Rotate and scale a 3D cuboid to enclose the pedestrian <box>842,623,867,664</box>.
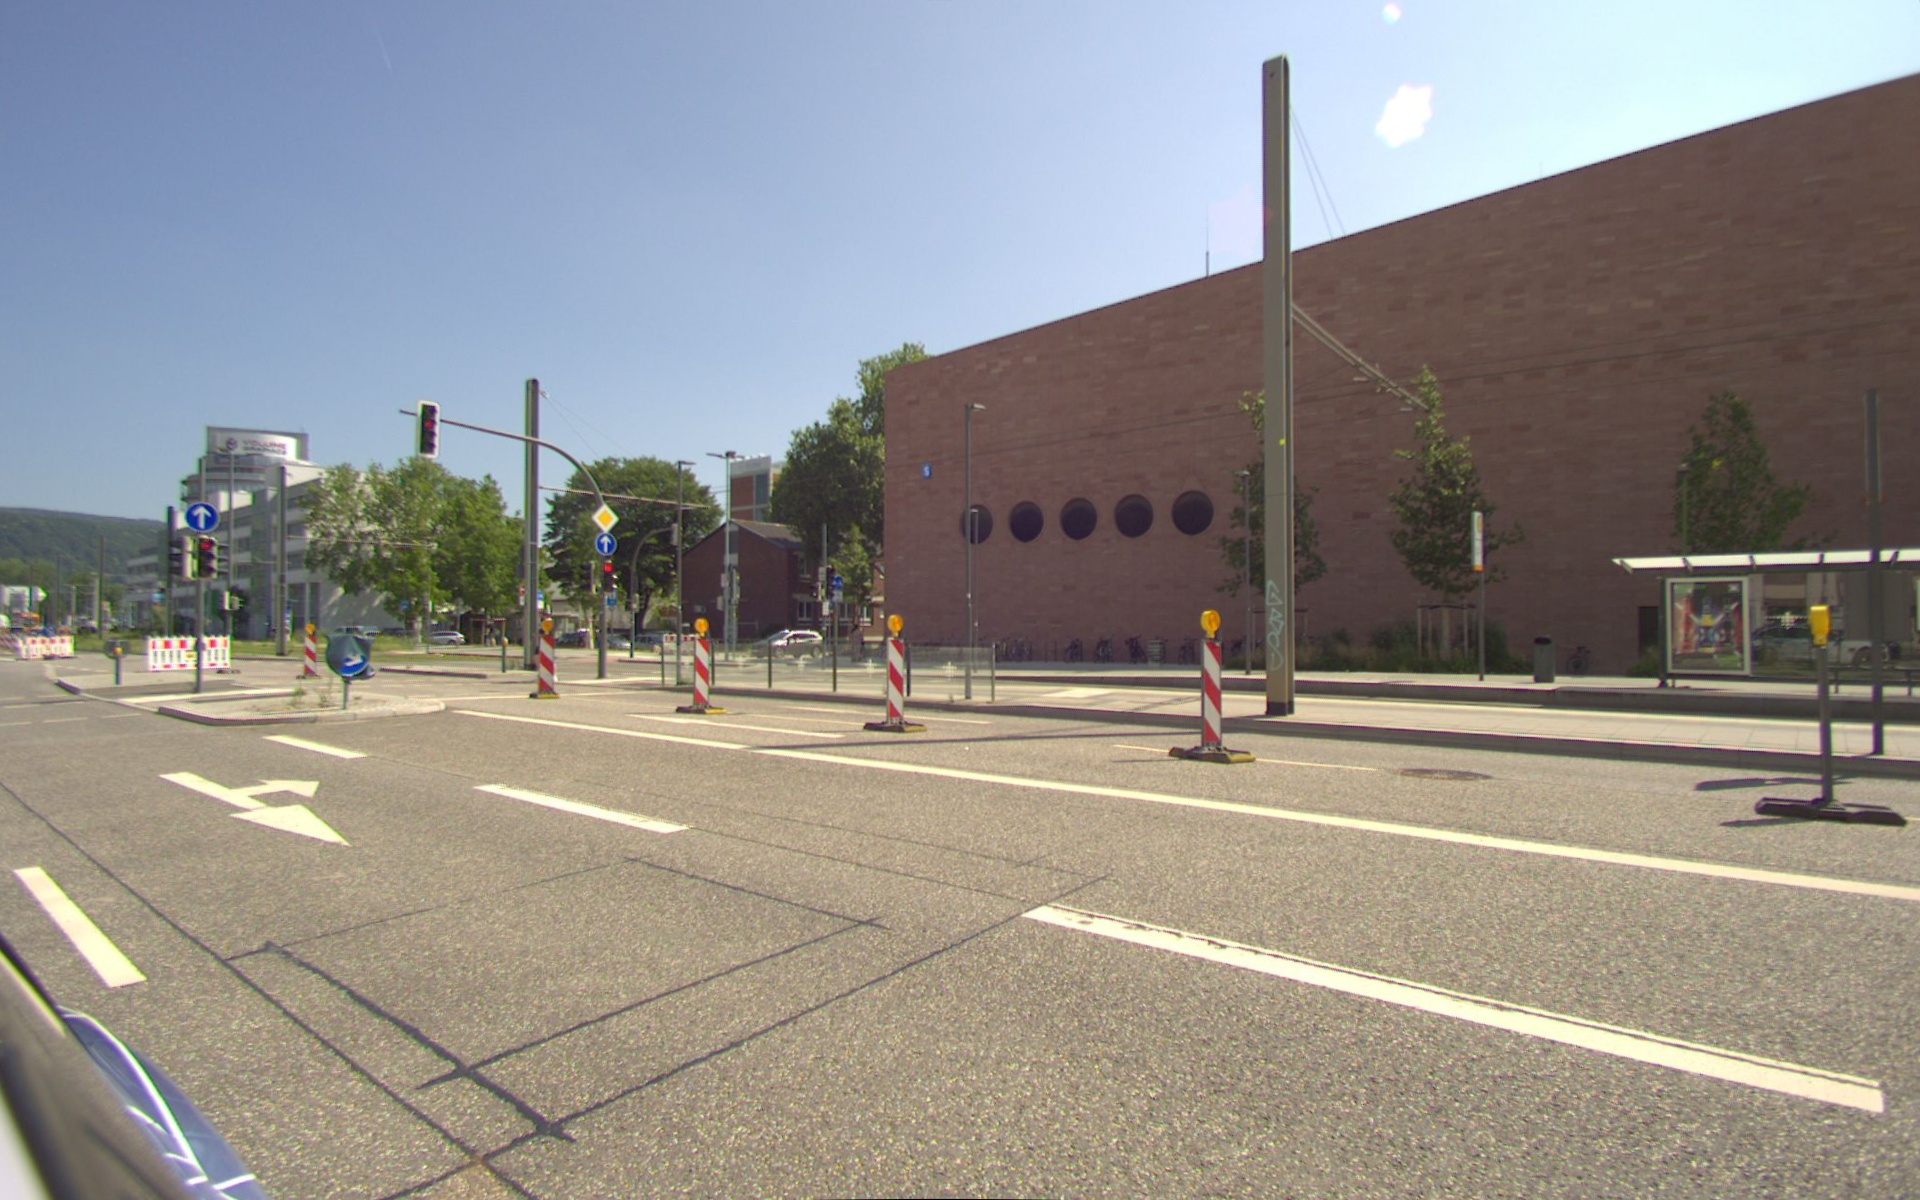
[{"bbox_3d":[-4.161,1.707,39.951,0.784,1.574,0.931,-1,-1,6],"label":"pedestrian"}]

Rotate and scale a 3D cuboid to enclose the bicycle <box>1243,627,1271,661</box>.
[{"bbox_3d":[11.073,1.625,37.675,0.537,1.221,2.036,-2,-1,30],"label":"bicycle"}]

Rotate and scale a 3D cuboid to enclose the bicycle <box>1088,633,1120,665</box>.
[{"bbox_3d":[5.831,1.953,40.936,0.537,1.221,2.036,-2,-1,30],"label":"bicycle"}]

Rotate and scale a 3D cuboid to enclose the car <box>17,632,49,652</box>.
[{"bbox_3d":[-70.406,3.201,76.866,1.609,1.438,4.292,1,-2,-45],"label":"car"}]

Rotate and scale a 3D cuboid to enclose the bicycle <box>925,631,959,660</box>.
[{"bbox_3d":[-0.773,2.002,44.706,0.537,1.221,2.037,-2,-1,30],"label":"bicycle"}]

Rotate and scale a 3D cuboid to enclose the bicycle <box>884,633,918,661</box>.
[{"bbox_3d":[-2.672,2.124,46.039,0.537,1.221,2.036,-1,-2,30],"label":"bicycle"}]

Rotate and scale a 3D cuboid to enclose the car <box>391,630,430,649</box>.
[{"bbox_3d":[-50.300,3.595,92.697,3.630,1.603,1.752,-2,0,36],"label":"car"}]

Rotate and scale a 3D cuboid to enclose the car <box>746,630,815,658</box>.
[{"bbox_3d":[-9.693,2.343,54.817,1.572,1.380,3.443,-2,-1,40],"label":"car"}]

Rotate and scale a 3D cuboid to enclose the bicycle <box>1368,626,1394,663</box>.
[{"bbox_3d":[14.417,1.502,34.601,0.537,1.221,2.036,-2,-1,30],"label":"bicycle"}]

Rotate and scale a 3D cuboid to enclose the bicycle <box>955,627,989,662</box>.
[{"bbox_3d":[0.519,1.923,43.942,0.537,1.464,2.036,-2,-1,30],"label":"bicycle"}]

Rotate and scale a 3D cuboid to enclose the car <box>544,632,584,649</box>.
[{"bbox_3d":[-34.304,3.478,87.616,4.265,1.468,1.522,-2,-2,41],"label":"car"}]

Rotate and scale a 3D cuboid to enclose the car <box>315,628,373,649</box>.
[{"bbox_3d":[-65.998,4.095,108.496,4.988,2.196,2.121,0,-1,-22],"label":"car"}]

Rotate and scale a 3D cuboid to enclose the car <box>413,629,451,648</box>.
[{"bbox_3d":[-49.699,3.609,95.245,3.630,1.603,1.752,-2,0,36],"label":"car"}]

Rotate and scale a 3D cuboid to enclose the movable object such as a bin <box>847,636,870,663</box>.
[{"bbox_3d":[-4.082,1.980,40.773,0.784,1.039,0.714,-1,-1,6],"label":"movable object such as a bin"}]

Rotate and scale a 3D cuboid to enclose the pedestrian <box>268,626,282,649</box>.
[{"bbox_3d":[-63.518,3.466,93.837,0.984,2.029,0.830,-2,-1,44],"label":"pedestrian"}]

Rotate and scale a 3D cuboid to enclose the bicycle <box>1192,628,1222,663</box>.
[{"bbox_3d":[9.260,1.690,37.912,0.537,1.221,2.036,-2,-1,30],"label":"bicycle"}]

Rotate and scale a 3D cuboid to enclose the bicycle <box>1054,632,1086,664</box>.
[{"bbox_3d":[4.537,1.968,41.714,0.537,1.221,2.036,-1,-1,30],"label":"bicycle"}]

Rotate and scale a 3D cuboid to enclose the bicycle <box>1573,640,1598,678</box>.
[{"bbox_3d":[20.149,1.884,32.582,0.594,1.161,2.223,-2,-2,33],"label":"bicycle"}]

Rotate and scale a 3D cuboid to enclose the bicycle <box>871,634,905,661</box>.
[{"bbox_3d":[-3.295,2.171,46.451,0.537,1.221,2.036,-1,-2,30],"label":"bicycle"}]

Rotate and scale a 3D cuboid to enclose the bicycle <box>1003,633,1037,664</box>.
[{"bbox_3d":[2.563,2.048,43.057,0.537,1.221,2.036,-2,-1,30],"label":"bicycle"}]

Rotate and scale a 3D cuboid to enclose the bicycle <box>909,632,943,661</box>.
[{"bbox_3d":[-1.509,2.047,45.128,0.537,1.221,2.036,-2,-1,30],"label":"bicycle"}]

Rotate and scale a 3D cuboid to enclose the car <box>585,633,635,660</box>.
[{"bbox_3d":[-24.922,3.271,71.976,3.938,1.774,1.680,0,0,42],"label":"car"}]

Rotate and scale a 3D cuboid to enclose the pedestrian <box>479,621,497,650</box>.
[{"bbox_3d":[-31.122,2.335,66.716,0.802,1.861,1.108,0,-1,-43],"label":"pedestrian"}]

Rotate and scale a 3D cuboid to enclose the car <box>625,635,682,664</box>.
[{"bbox_3d":[-20.737,3.296,68.442,4.299,1.774,1.680,0,0,41],"label":"car"}]

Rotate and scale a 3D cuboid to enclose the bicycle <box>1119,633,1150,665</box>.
[{"bbox_3d":[6.969,1.937,40.402,0.537,1.221,2.036,-2,-1,30],"label":"bicycle"}]

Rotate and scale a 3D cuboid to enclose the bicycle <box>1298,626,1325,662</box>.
[{"bbox_3d":[12.710,1.570,36.579,0.537,1.221,2.036,-2,-1,30],"label":"bicycle"}]

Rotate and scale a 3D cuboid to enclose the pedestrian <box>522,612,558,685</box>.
[{"bbox_3d":[-10.842,1.237,26.131,0.645,1.847,0.661,-1,-1,-45],"label":"pedestrian"}]

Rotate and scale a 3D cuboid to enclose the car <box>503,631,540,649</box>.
[{"bbox_3d":[-42.908,3.911,99.047,3.630,1.603,1.752,-2,0,36],"label":"car"}]

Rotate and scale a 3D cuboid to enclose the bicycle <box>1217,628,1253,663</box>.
[{"bbox_3d":[10.319,1.683,37.941,0.745,1.221,1.868,-1,-1,34],"label":"bicycle"}]
